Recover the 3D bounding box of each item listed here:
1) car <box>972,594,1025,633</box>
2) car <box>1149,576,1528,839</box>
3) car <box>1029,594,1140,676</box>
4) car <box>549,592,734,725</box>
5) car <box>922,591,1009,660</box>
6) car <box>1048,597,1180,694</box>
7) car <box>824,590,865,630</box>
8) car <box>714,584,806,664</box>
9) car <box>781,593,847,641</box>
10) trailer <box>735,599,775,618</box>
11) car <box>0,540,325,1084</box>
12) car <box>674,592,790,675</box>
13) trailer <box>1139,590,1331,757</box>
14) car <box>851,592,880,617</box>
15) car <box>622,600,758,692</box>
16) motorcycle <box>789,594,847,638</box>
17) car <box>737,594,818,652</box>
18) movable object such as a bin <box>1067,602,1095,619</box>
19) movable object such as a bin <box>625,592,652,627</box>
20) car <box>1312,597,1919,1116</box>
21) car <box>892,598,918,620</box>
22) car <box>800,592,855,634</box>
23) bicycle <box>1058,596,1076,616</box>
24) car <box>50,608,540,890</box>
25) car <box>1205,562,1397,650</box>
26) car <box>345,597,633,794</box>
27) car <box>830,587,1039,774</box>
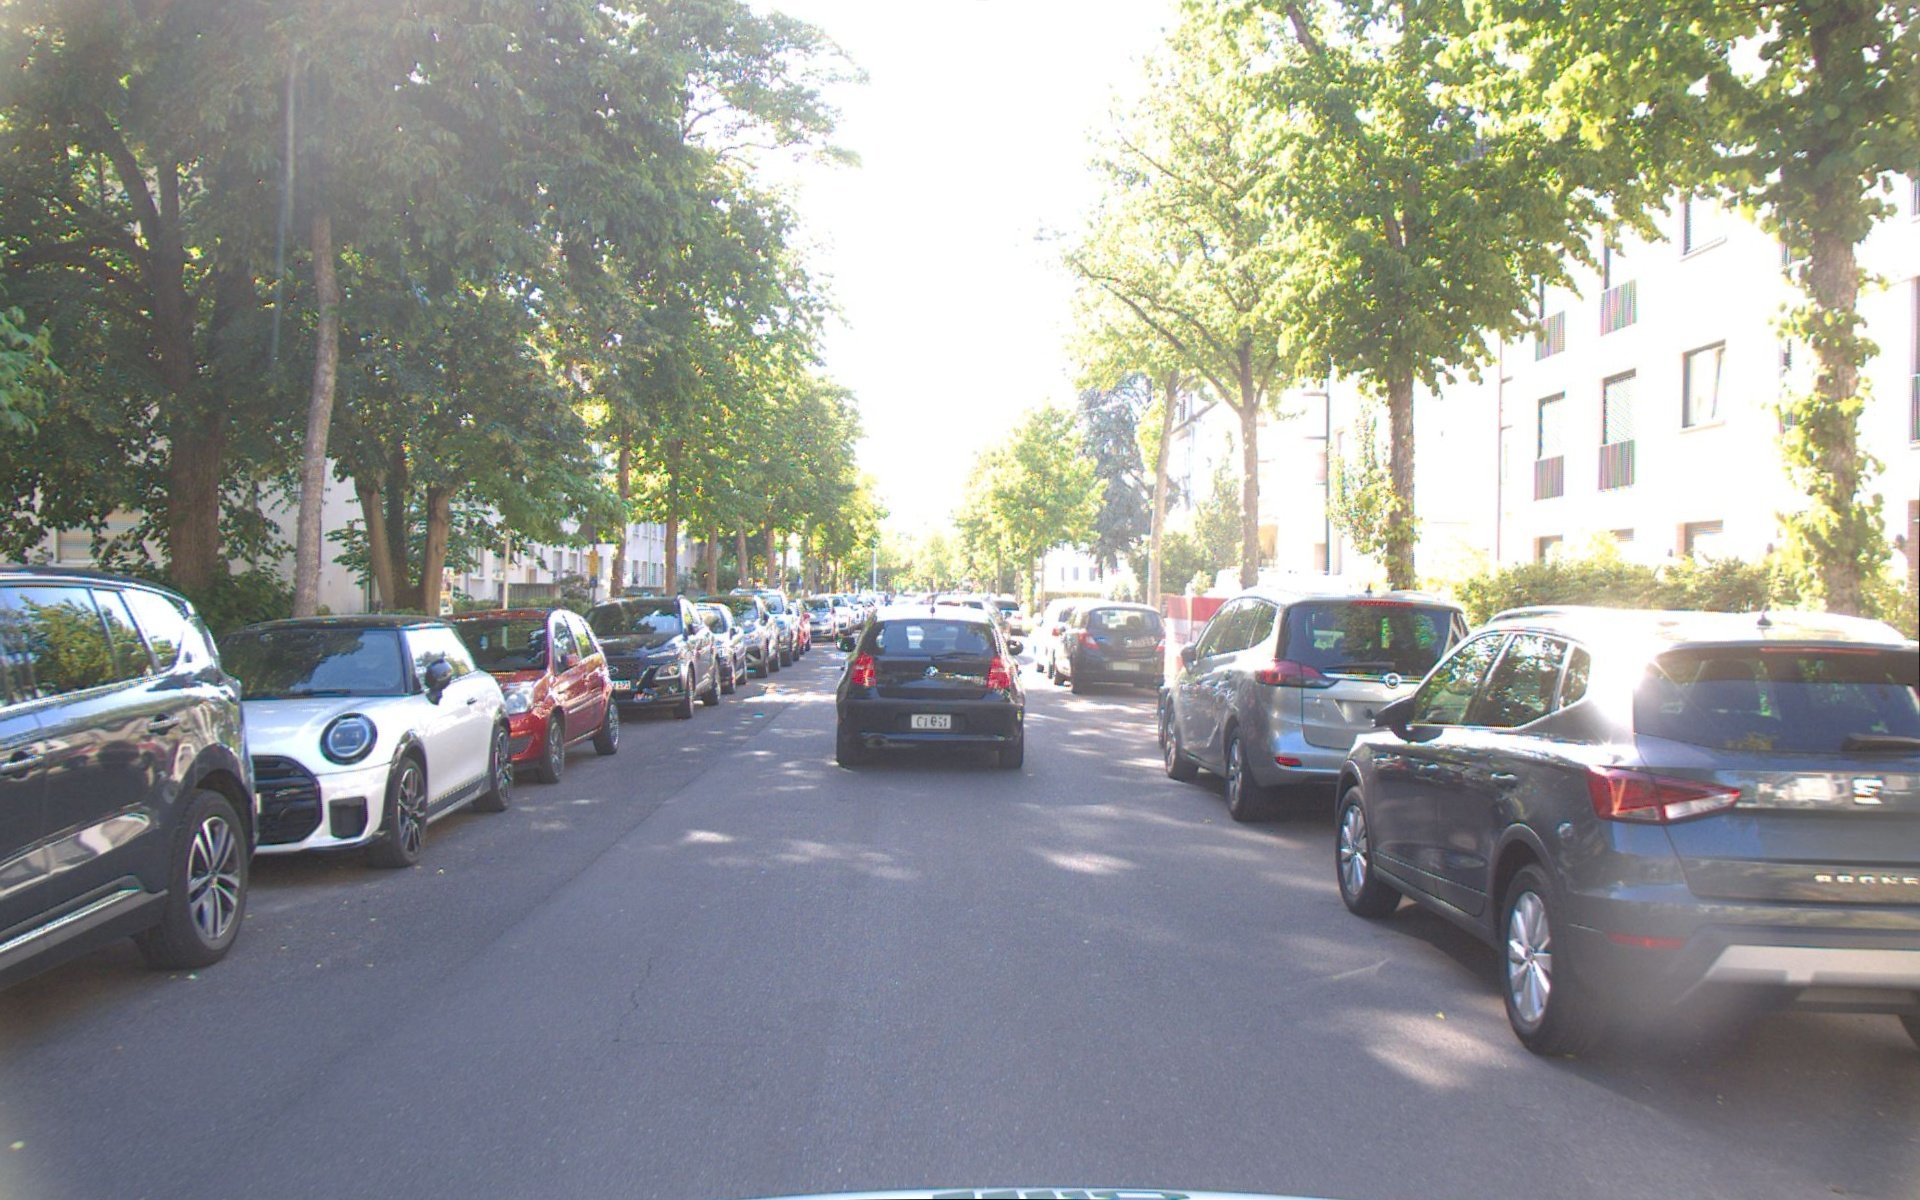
[{"bbox_3d":[1.561,0.545,68.661,1.785,1.495,4.907,2,0,-3],"label":"car"},{"bbox_3d":[2.780,0.707,13.333,1.756,1.672,4.817,2,0,-2],"label":"car"},{"bbox_3d":[2.412,0.658,32.967,1.698,1.513,4.007,1,0,-3],"label":"car"},{"bbox_3d":[-4.207,0.703,22.481,1.671,1.604,4.481,-1,0,-1],"label":"car"},{"bbox_3d":[0.066,0.606,40.293,1.858,1.551,4.964,1,-1,-3],"label":"car"},{"bbox_3d":[2.558,0.725,28.400,1.637,1.476,4.177,2,0,-3],"label":"car"},{"bbox_3d":[-5.262,0.448,75.648,1.694,1.646,4.364,-3,0,-2],"label":"car"},{"bbox_3d":[-4.562,0.505,38.352,1.732,1.717,4.812,-1,0,-2],"label":"car"},{"bbox_3d":[-4.906,0.542,56.005,2.002,1.551,4.604,0,0,-2],"label":"car"},{"bbox_3d":[-11.161,0.451,90.181,1.752,1.052,3.281,0,0,0],"label":"trailer"},{"bbox_3d":[-3.894,0.667,5.395,1.805,1.685,5.085,-1,0,-2],"label":"car"},{"bbox_3d":[-4.489,0.617,33.117,1.733,1.558,4.419,0,0,-1],"label":"car"},{"bbox_3d":[2.914,0.727,18.104,1.542,1.606,3.192,2,0,0],"label":"trailer"},{"bbox_3d":[-6.151,0.274,108.442,1.775,1.624,4.231,-1,0,-2],"label":"car"},{"bbox_3d":[-4.423,0.708,27.689,1.749,1.376,4.479,-1,0,-3],"label":"car"},{"bbox_3d":[-5.151,0.577,59.921,0.981,1.530,2.200,-1,0,-41],"label":"motorcycle"},{"bbox_3d":[-4.870,0.583,44.604,1.818,1.495,4.181,0,0,-1],"label":"car"},{"bbox_3d":[6.892,0.607,93.963,1.196,0.920,1.665,0,0,19],"label":"movable object such as a bin"},{"bbox_3d":[-12.701,0.364,65.373,0.912,1.347,1.377,0,0,-7],"label":"movable object such as a bin"},{"bbox_3d":[2.855,0.775,7.157,1.683,1.543,4.344,1,0,-1],"label":"car"},{"bbox_3d":[-3.839,0.610,114.855,1.773,1.471,4.364,-1,0,-2],"label":"car"},{"bbox_3d":[-5.102,0.461,63.900,2.023,1.551,4.717,0,0,-4],"label":"car"},{"bbox_3d":[6.850,0.367,106.333,0.822,1.279,2.229,1,0,-5],"label":"bicycle"},{"bbox_3d":[-3.975,0.780,10.672,1.621,1.397,4.187,-1,0,-3],"label":"car"},{"bbox_3d":[9.523,0.157,46.198,4.976,2.346,2.217,0,0,-25],"label":"car"},{"bbox_3d":[-4.132,0.753,15.140,1.621,1.531,4.066,-1,0,-3],"label":"car"},{"bbox_3d":[-0.331,0.673,15.944,1.747,1.550,3.997,-1,0,-4],"label":"car"}]
